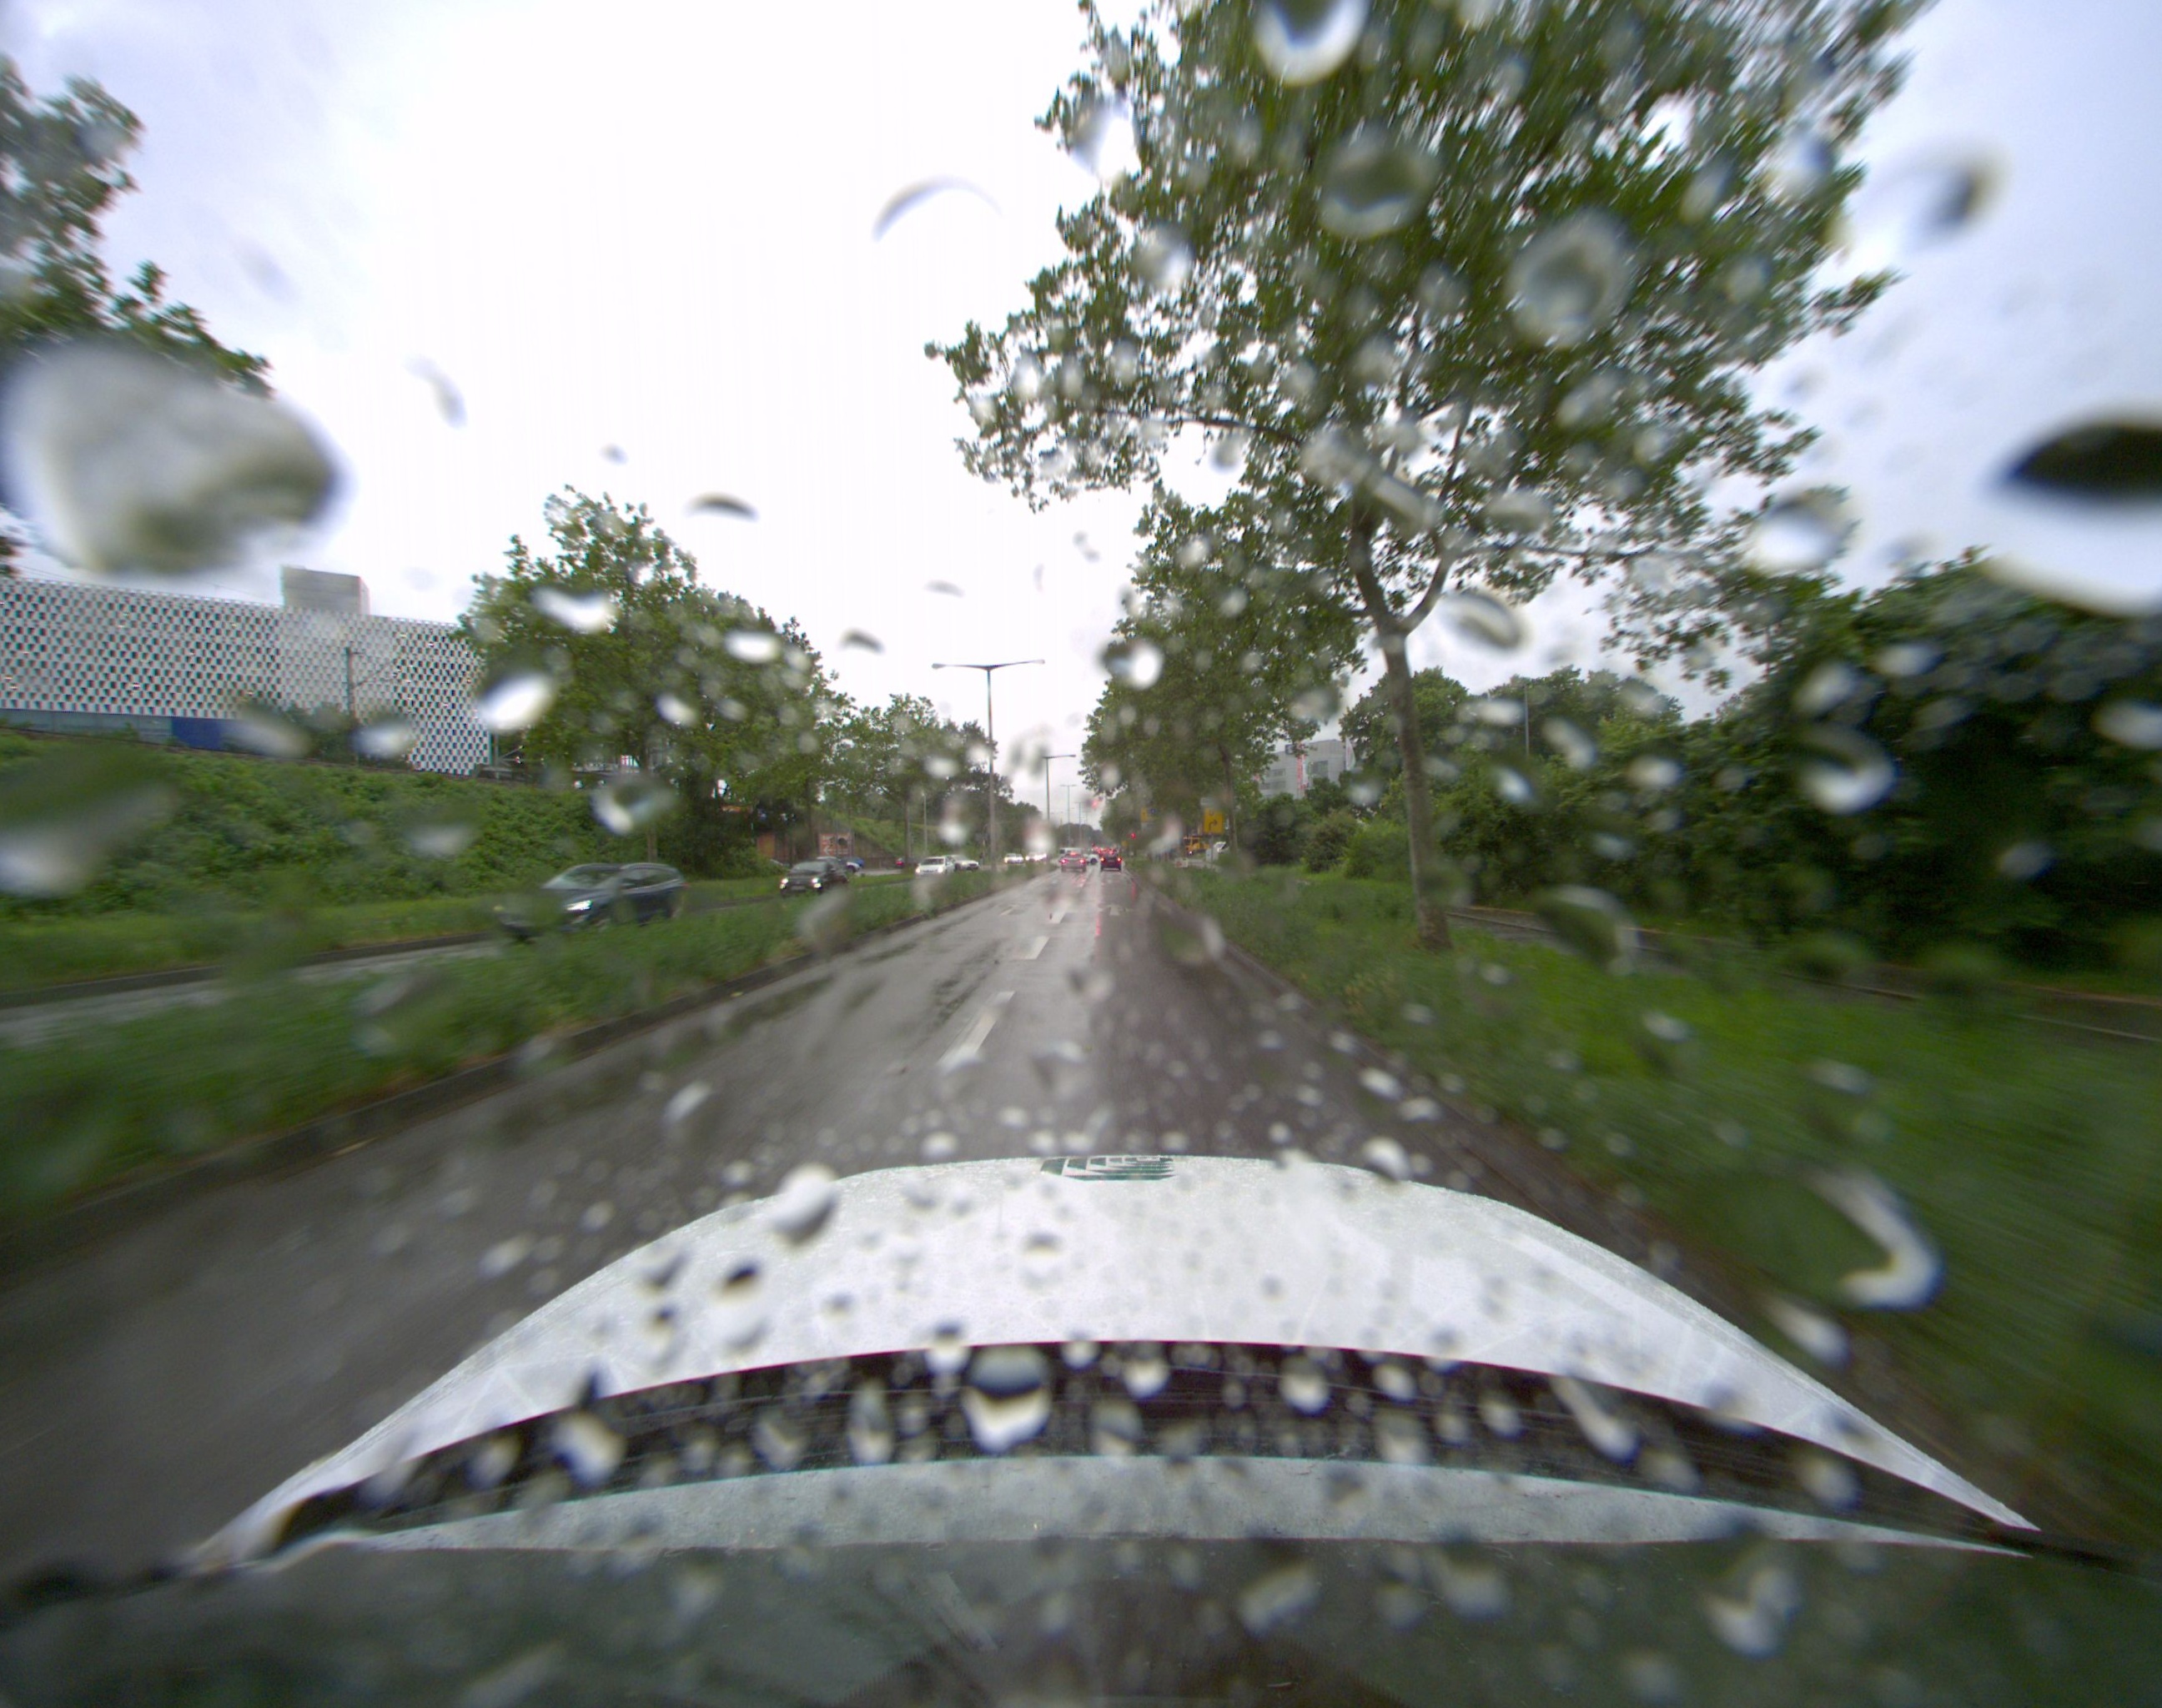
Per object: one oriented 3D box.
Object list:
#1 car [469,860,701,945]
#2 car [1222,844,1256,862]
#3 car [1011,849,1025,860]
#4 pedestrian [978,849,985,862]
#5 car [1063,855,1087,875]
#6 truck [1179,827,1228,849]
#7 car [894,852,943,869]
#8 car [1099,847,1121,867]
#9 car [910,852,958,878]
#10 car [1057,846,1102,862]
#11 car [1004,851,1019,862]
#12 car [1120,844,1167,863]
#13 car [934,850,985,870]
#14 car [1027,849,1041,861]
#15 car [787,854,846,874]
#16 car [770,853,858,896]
[{"bbox_3d":[-9.941,0.889,16.833,1.924,1.445,4.498,-1,0,2],"label":"car"},{"bbox_3d":[21.746,-0.134,112.118,4.404,2.190,1.783,-4,2,-33],"label":"car"},{"bbox_3d":[-9.367,0.087,121.319,1.706,1.530,4.002,-1,0,2],"label":"car"},{"bbox_3d":[-12.920,0.200,105.703,0.528,1.786,0.676,0,-1,19],"label":"pedestrian"},{"bbox_3d":[-0.425,0.807,62.736,1.683,1.433,4.576,-1,0,2],"label":"car"},{"bbox_3d":[17.351,-2.286,115.075,7.079,3.054,2.618,-2,0,-35],"label":"truck"},{"bbox_3d":[-15.748,0.597,78.860,4.397,1.537,1.786,-1,0,-28],"label":"car"},{"bbox_3d":[2.397,0.237,67.655,1.789,1.537,4.389,0,0,2],"label":"car"},{"bbox_3d":[-8.921,0.633,49.872,1.924,1.445,4.659,-1,0,2],"label":"car"},{"bbox_3d":[-0.160,-0.017,86.996,4.397,1.537,1.786,-2,0,-28],"label":"car"},{"bbox_3d":[-9.771,0.344,114.786,1.706,1.530,4.002,-1,0,2],"label":"car"},{"bbox_3d":[6.082,-0.043,79.037,4.409,1.536,1.782,-4,3,-38],"label":"car"},{"bbox_3d":[-10.253,0.509,68.322,4.462,1.589,1.874,-1,0,44],"label":"car"},{"bbox_3d":[-6.674,0.145,115.918,1.706,1.530,4.002,-1,0,2],"label":"car"},{"bbox_3d":[-22.634,0.852,69.754,4.502,1.589,1.857,-2,0,-9],"label":"car"},{"bbox_3d":[-9.833,0.706,30.305,1.924,1.445,3.709,-1,0,2],"label":"car"}]
